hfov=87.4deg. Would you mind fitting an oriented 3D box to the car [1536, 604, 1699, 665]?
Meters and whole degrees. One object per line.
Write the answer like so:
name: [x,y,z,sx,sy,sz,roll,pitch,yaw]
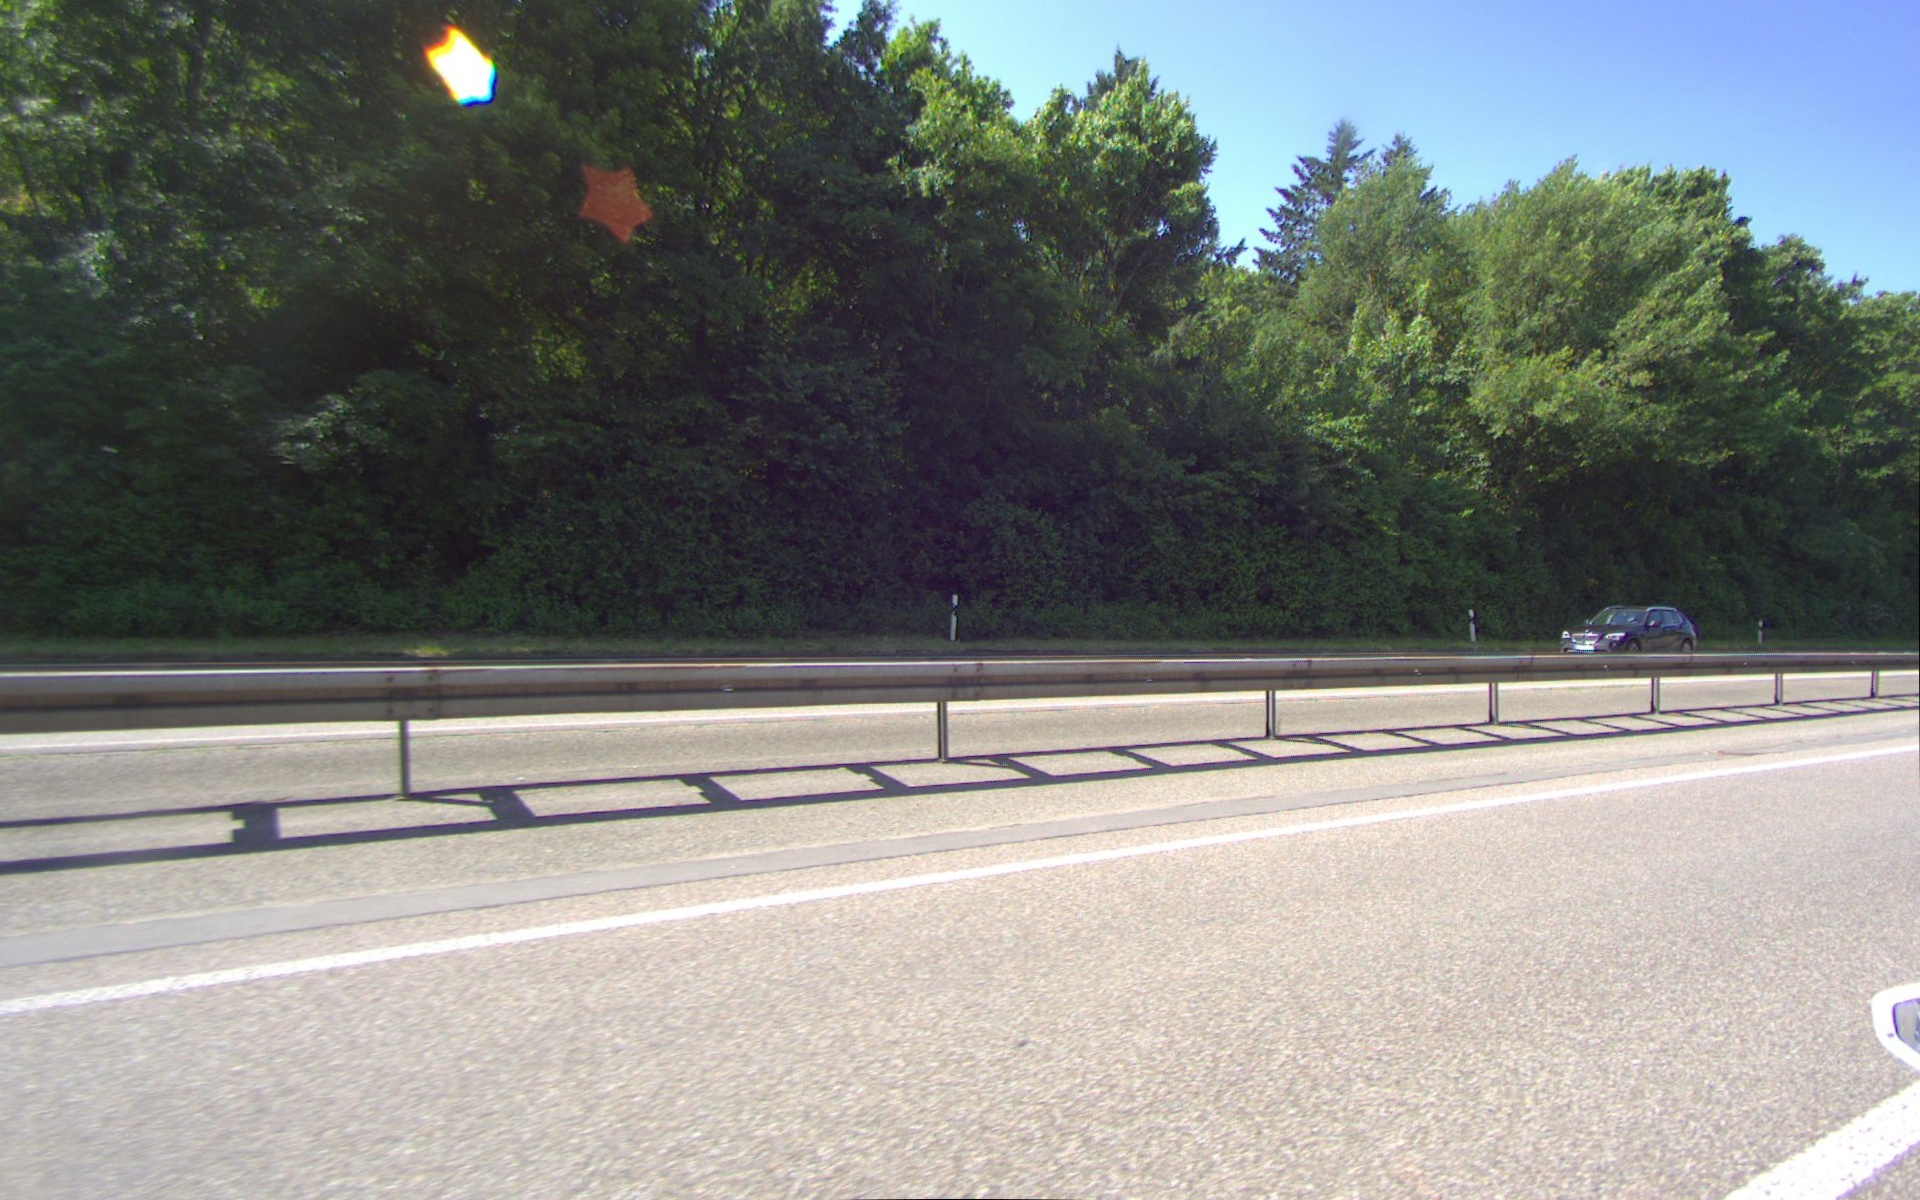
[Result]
car: [18.176,0.950,27.741,4.495,1.530,1.835,2,0,-29]
